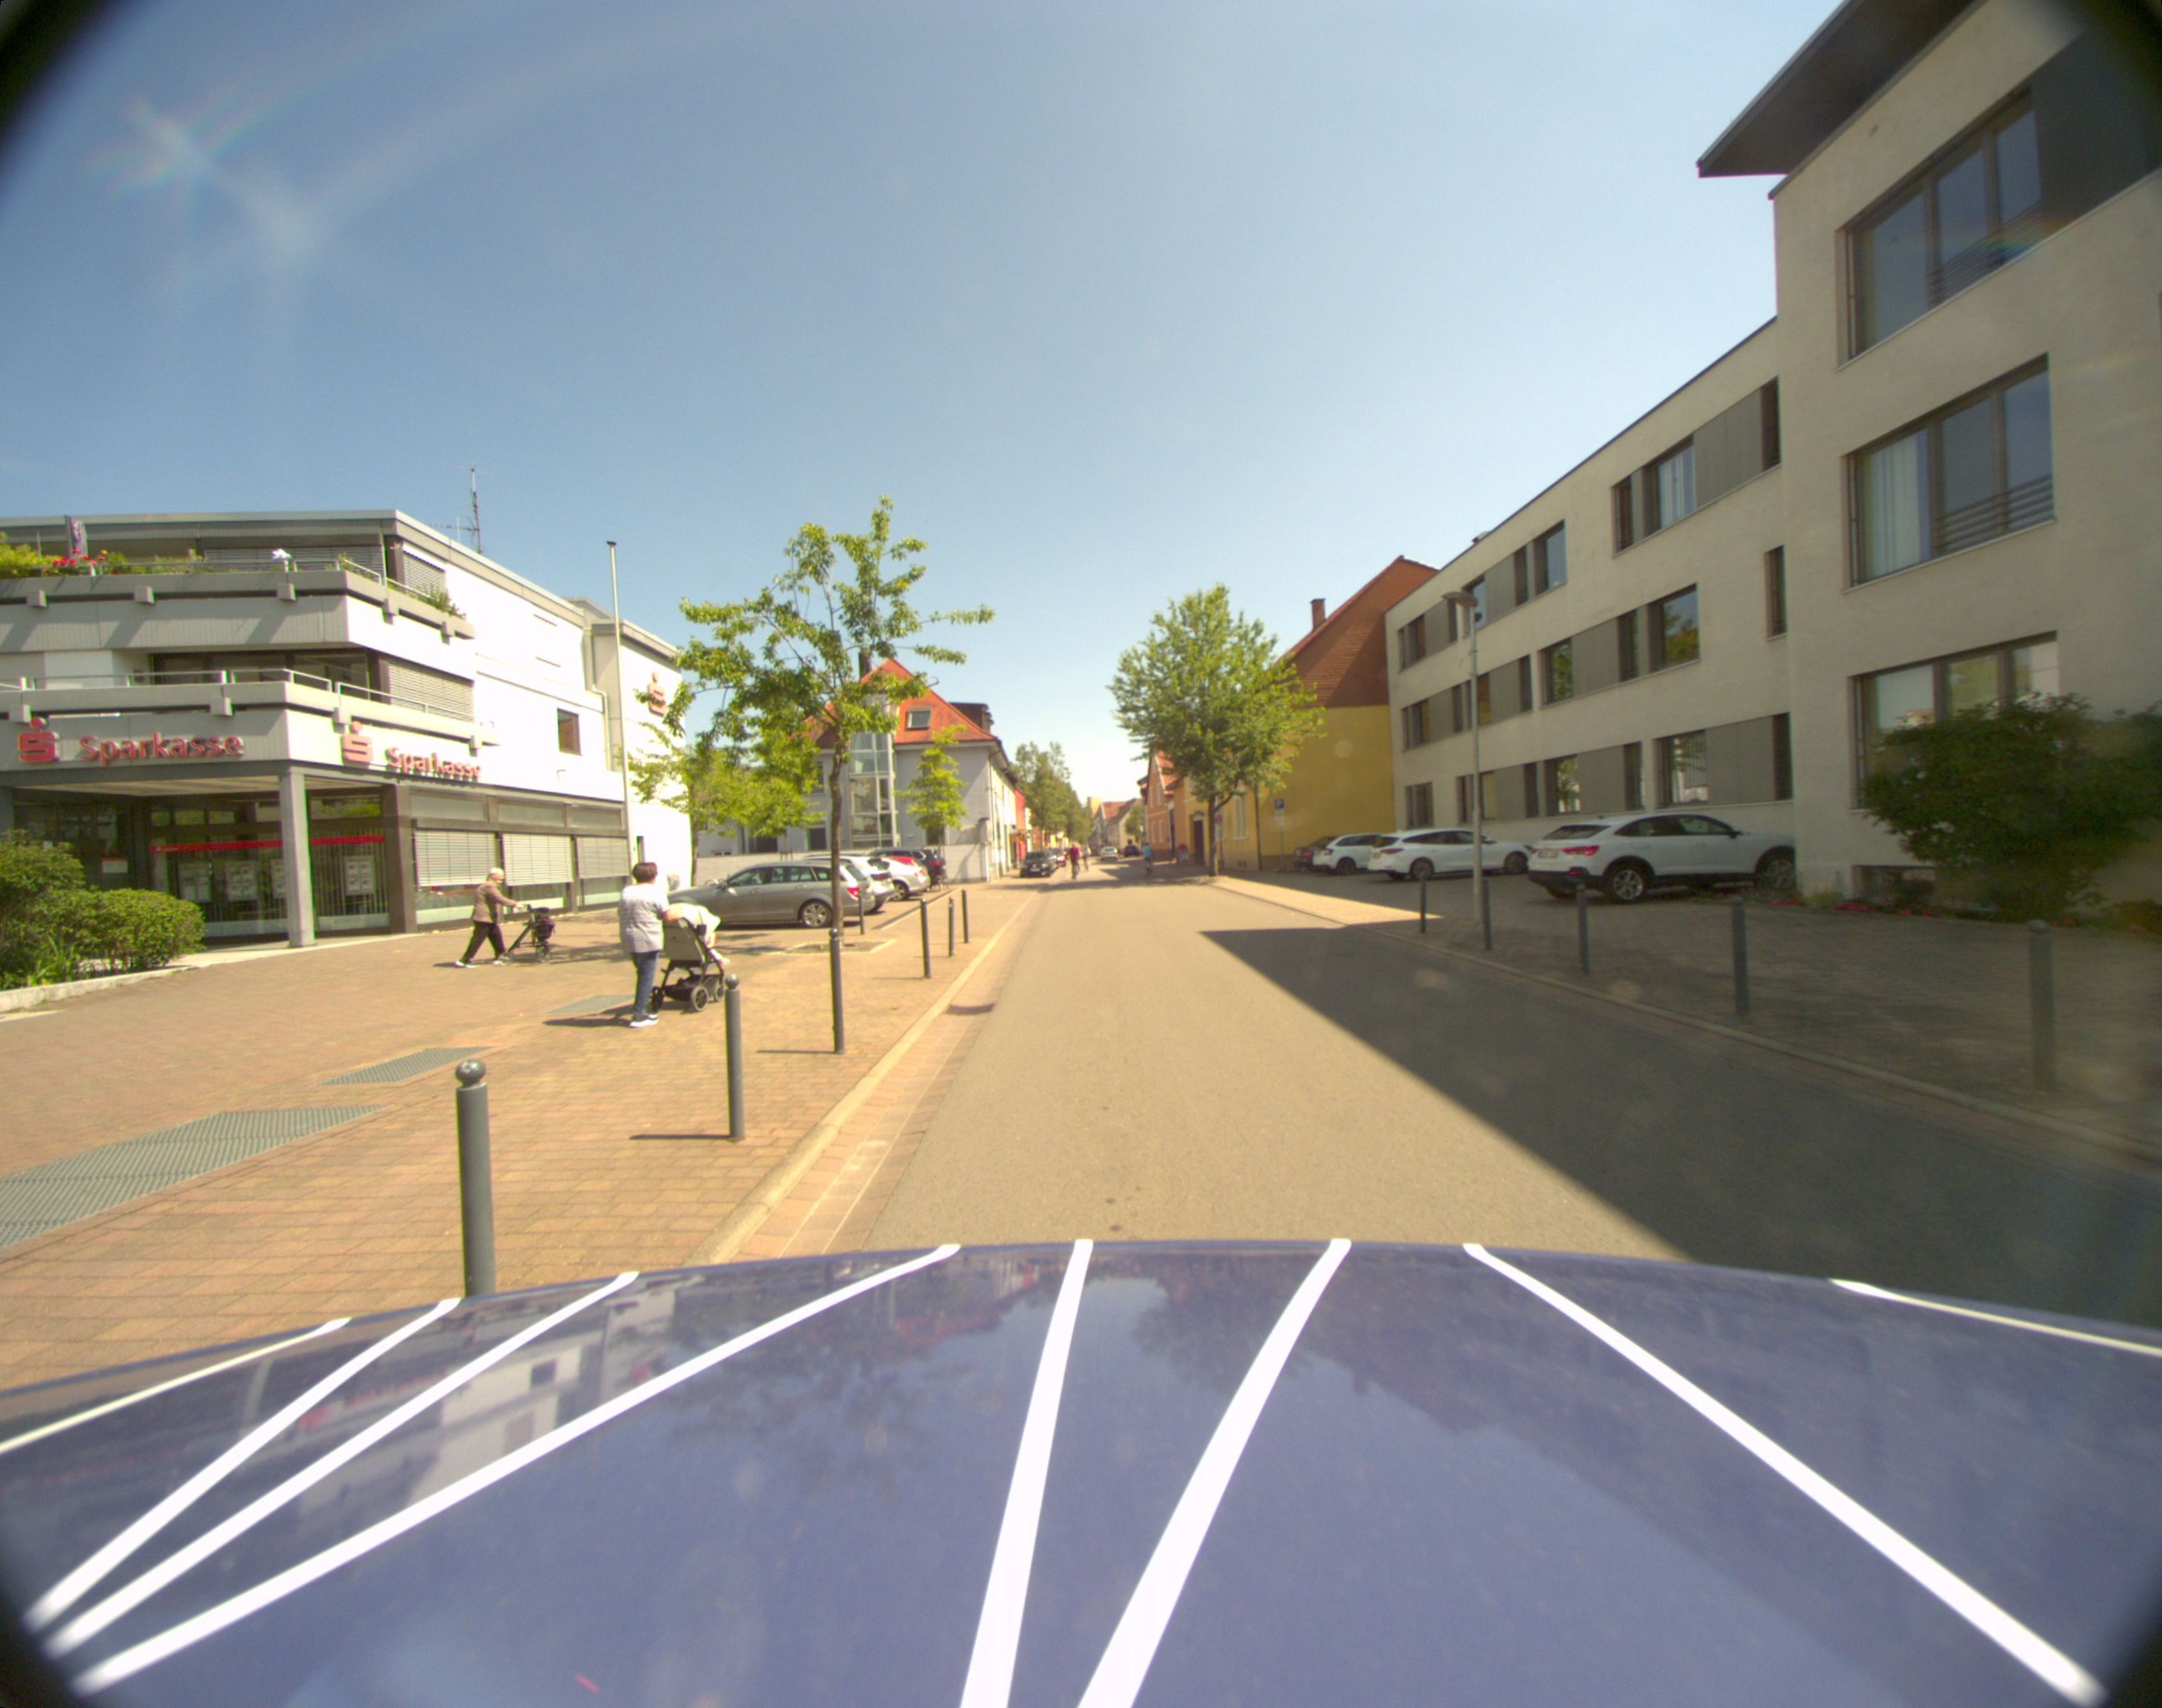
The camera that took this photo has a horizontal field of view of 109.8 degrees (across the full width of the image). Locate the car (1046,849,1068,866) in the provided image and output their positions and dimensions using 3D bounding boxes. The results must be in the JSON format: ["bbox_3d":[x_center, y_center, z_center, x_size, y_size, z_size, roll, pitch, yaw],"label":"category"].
[{"bbox_3d":[-1.966,0.238,61.920,1.530,1.298,3.248,-1,1,-6],"label":"car"}]

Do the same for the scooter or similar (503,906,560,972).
[{"bbox_3d":[-8.603,1.315,11.893,0.535,0.940,0.548,-1,1,36],"label":"scooter or similar"}]

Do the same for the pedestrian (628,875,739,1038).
[{"bbox_3d":[-4.021,0.992,7.762,0.512,1.507,1.048,-1,1,2],"label":"pedestrian"}]

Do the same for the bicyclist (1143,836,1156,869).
[{"bbox_3d":[3.399,-0.075,37.883,0.538,1.630,0.551,-2,1,-2],"label":"bicyclist"}]

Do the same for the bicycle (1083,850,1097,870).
[{"bbox_3d":[0.538,0.393,48.419,0.690,1.183,1.798,-4,1,-3],"label":"bicycle"}]

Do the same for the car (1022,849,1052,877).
[{"bbox_3d":[-2.483,0.472,42.381,1.530,1.444,3.519,-2,1,-6],"label":"car"}]

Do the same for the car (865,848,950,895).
[{"bbox_3d":[-6.701,0.651,29.552,3.041,1.727,1.344,-1,1,-5],"label":"car"}]

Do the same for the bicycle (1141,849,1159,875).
[{"bbox_3d":[3.432,0.383,37.889,0.595,1.183,1.724,-3,1,-2],"label":"bicycle"}]

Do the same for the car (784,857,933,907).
[{"bbox_3d":[-7.165,0.872,24.876,4.446,1.434,1.655,-1,1,-8],"label":"car"}]

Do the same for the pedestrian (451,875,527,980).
[{"bbox_3d":[-8.920,1.077,11.461,0.530,1.492,0.725,-1,1,35],"label":"pedestrian"}]

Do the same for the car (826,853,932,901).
[{"bbox_3d":[-7.215,0.789,27.411,3.431,1.543,1.490,-2,1,-5],"label":"car"}]

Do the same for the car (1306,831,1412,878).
[{"bbox_3d":[9.931,0.009,27.277,3.139,1.442,1.642,-4,1,1],"label":"car"}]

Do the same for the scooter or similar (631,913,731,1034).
[{"bbox_3d":[-4.122,1.207,7.883,0.505,1.112,0.909,-1,0,3],"label":"scooter or similar"}]

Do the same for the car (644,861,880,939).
[{"bbox_3d":[-6.857,0.957,16.728,4.446,1.457,1.689,-1,2,-6],"label":"car"}]

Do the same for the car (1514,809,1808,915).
[{"bbox_3d":[10.397,0.119,13.822,3.997,1.539,1.748,-4,1,-2],"label":"car"}]

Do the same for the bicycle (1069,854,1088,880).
[{"bbox_3d":[-0.140,0.627,37.078,0.738,1.183,1.970,-4,1,-3],"label":"bicycle"}]

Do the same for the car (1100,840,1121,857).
[{"bbox_3d":[3.142,-0.576,81.258,1.999,1.696,3.999,-2,1,-1],"label":"car"}]

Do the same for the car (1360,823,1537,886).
[{"bbox_3d":[10.601,0.003,22.086,4.324,1.470,1.513,-4,1,0],"label":"car"}]

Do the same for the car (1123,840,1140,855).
[{"bbox_3d":[6.606,-0.840,99.781,1.826,1.805,3.999,-2,1,-1],"label":"car"}]

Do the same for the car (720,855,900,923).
[{"bbox_3d":[-6.864,0.847,19.594,4.047,1.550,1.711,-1,1,-6],"label":"car"}]

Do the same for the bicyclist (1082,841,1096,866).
[{"bbox_3d":[0.509,-0.047,48.446,0.703,1.573,0.878,-4,2,-3],"label":"bicyclist"}]

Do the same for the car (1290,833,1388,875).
[{"bbox_3d":[9.968,-0.003,29.488,3.258,1.393,1.374,-4,1,-2],"label":"car"}]

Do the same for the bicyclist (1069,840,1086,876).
[{"bbox_3d":[-0.168,0.182,37.120,0.703,1.707,0.759,-4,2,-3],"label":"bicyclist"}]
